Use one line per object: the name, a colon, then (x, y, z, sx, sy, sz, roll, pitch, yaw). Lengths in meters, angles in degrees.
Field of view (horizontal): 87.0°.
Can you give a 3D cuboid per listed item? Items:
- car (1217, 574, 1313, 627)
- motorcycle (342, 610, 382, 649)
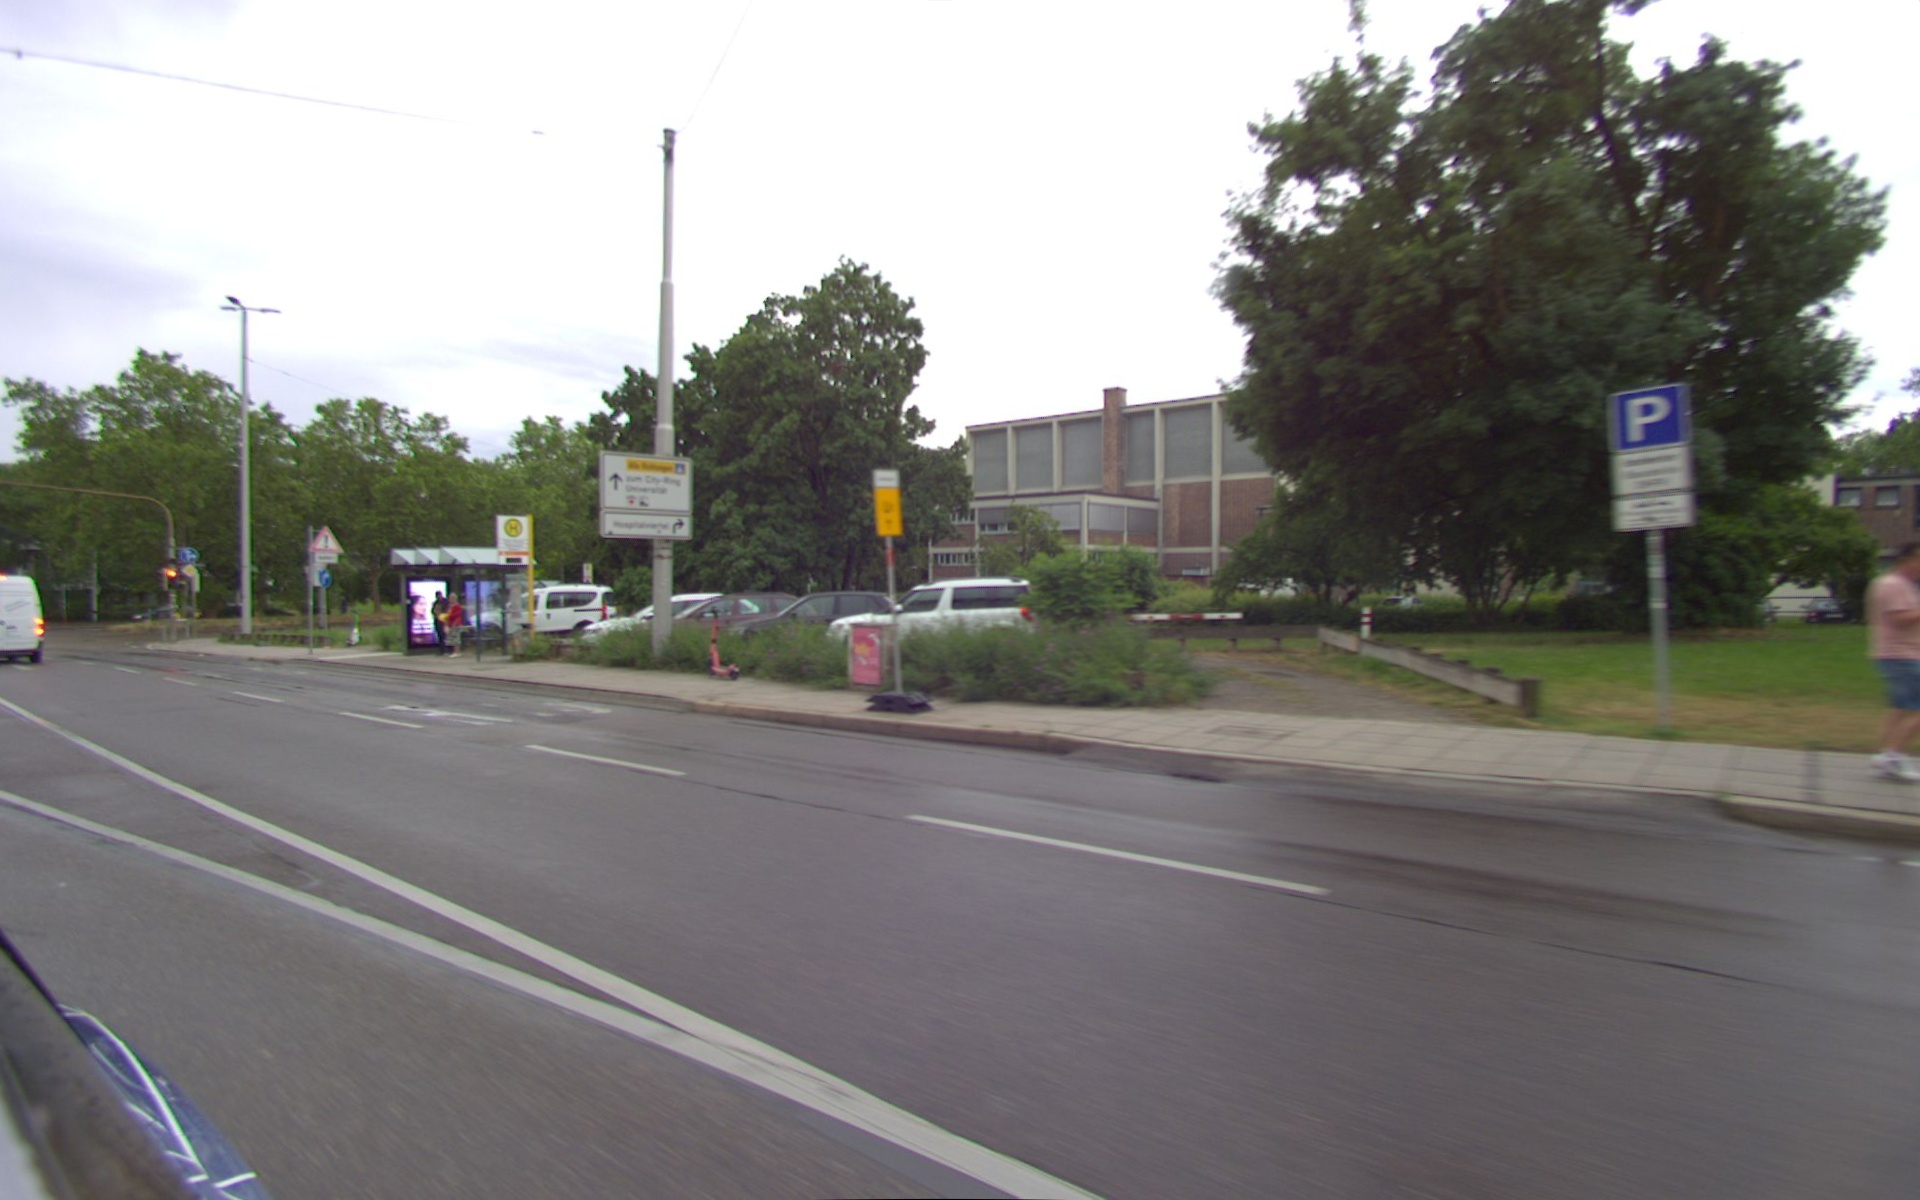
car: (17.573, -0.036, 58.110, 2.741, 2.781, 6.124, 0, 2, 44)
motorcycle: (-19.892, 0.985, 33.666, 1.261, 1.256, 0.511, -1, 2, 27)
